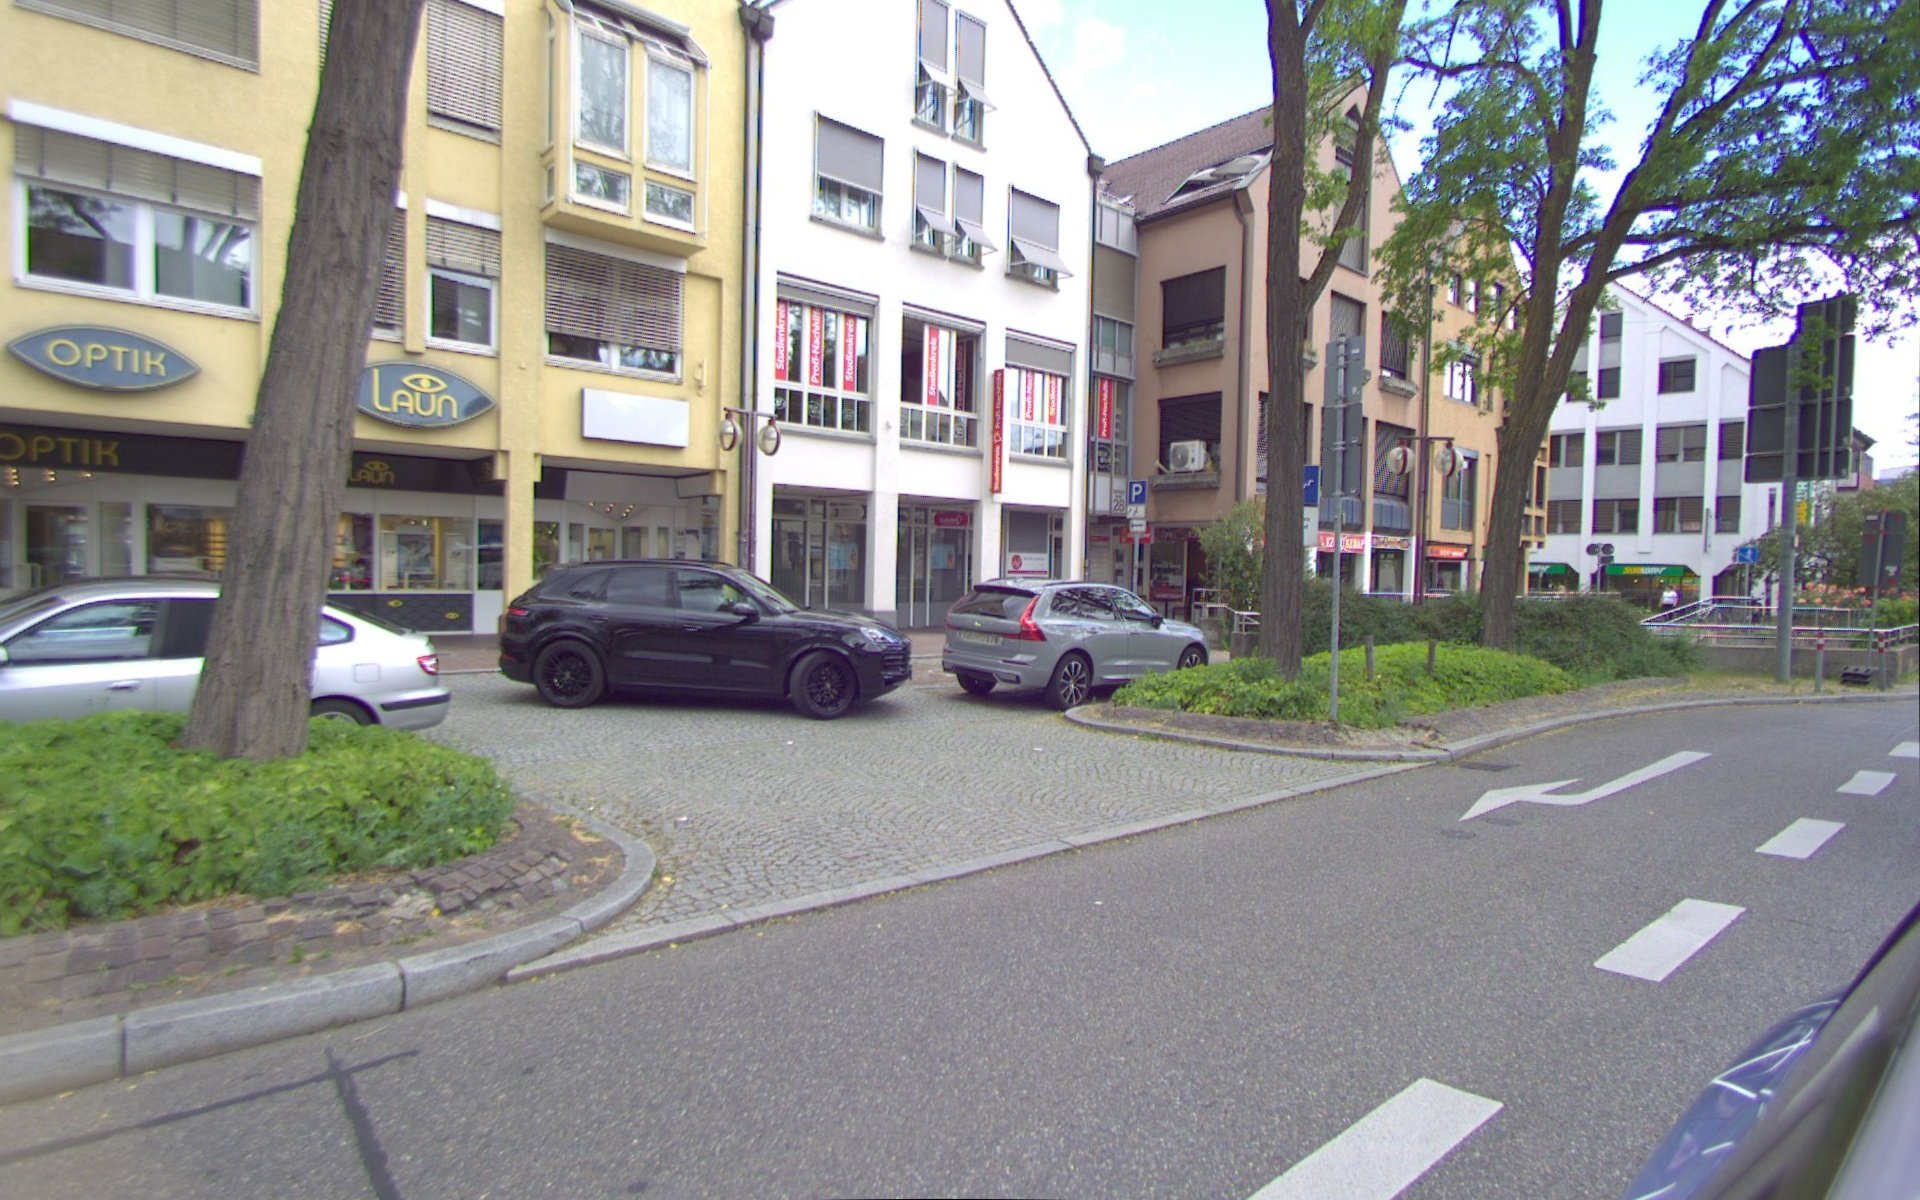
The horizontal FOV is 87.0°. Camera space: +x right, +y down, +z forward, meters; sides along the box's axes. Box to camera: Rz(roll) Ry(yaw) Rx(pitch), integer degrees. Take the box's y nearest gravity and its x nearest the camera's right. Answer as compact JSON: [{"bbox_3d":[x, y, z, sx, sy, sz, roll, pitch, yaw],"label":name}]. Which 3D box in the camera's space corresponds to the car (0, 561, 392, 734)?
[{"bbox_3d":[-8.119,0.368,9.690,4.344,1.393,2.000,0,3,-43],"label":"car"}]

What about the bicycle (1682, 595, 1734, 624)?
[{"bbox_3d":[28.557,0.356,38.649,1.584,1.014,0.409,2,1,37],"label":"bicycle"}]

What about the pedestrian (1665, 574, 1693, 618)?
[{"bbox_3d":[30.542,-0.170,42.987,0.772,1.846,0.869,0,0,-45],"label":"pedestrian"}]

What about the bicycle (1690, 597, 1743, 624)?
[{"bbox_3d":[29.139,0.382,38.999,1.584,0.981,0.455,2,1,36],"label":"bicycle"}]

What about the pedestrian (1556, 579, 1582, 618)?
[{"bbox_3d":[28.332,-0.064,47.080,0.882,1.779,0.931,2,1,38],"label":"pedestrian"}]

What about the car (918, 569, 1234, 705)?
[{"bbox_3d":[1.810,0.419,14.607,4.685,1.615,1.996,0,2,-44],"label":"car"}]

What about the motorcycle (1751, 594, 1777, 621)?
[{"bbox_3d":[33.398,0.318,42.021,1.961,1.081,0.464,0,1,-41],"label":"motorcycle"}]

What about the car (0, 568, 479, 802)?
[{"bbox_3d":[-6.186,0.522,7.580,4.344,1.468,1.765,0,2,-43],"label":"car"}]

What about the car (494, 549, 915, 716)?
[{"bbox_3d":[-2.861,0.327,12.130,4.573,1.690,1.860,2,2,-2],"label":"car"}]
